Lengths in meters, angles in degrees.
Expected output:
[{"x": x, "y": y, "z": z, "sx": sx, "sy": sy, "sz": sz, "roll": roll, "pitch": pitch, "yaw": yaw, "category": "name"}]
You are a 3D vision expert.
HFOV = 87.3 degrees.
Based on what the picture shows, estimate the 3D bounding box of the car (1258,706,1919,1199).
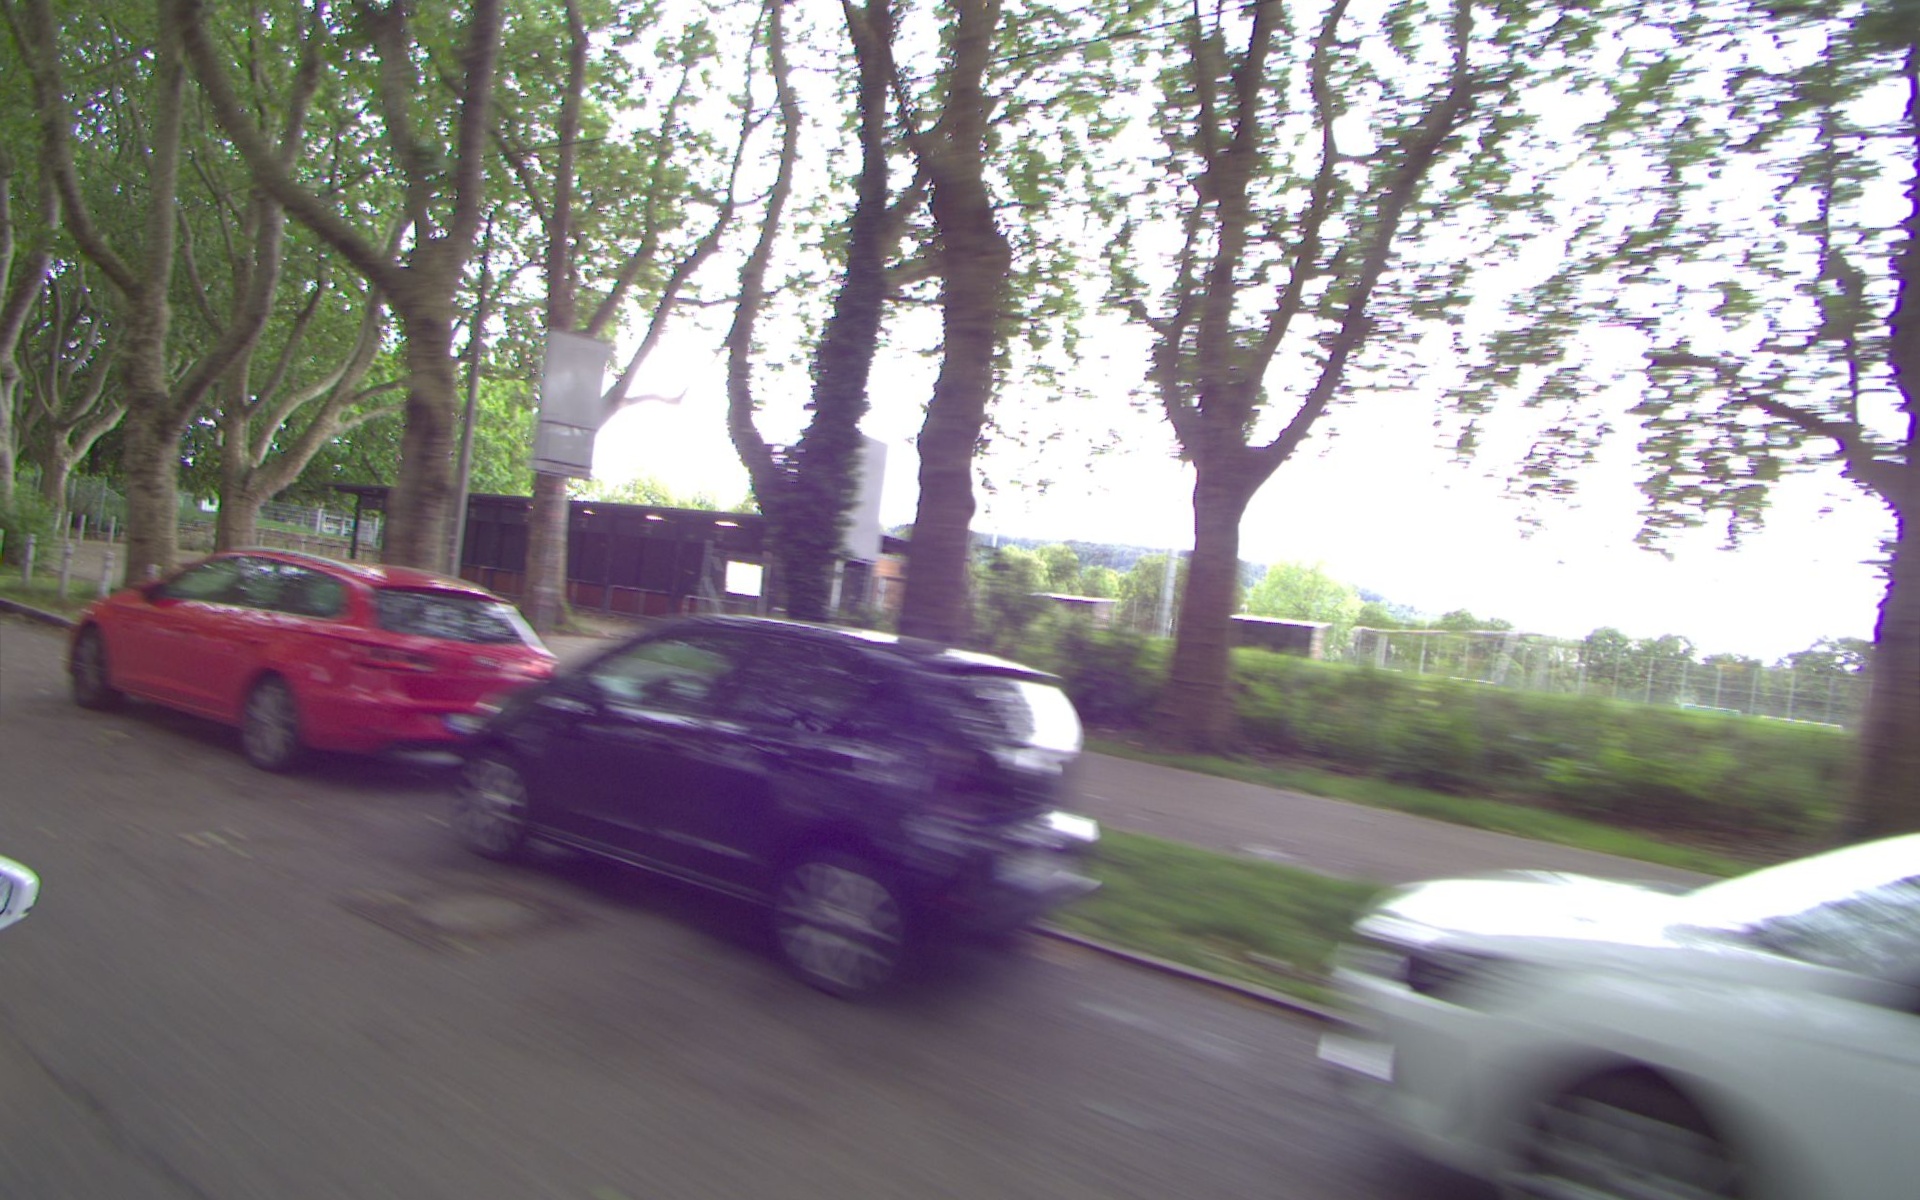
[{"x": 3.160, "y": 1.345, "z": 2.801, "sx": 4.053, "sy": 1.455, "sz": 1.738, "roll": 7, "pitch": -1, "yaw": 30, "category": "car"}]

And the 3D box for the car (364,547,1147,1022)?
[{"x": -1.256, "y": 0.742, "z": 5.560, "sx": 4.013, "sy": 1.486, "sz": 1.735, "roll": 7, "pitch": -4, "yaw": 33, "category": "car"}]

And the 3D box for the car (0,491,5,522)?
[{"x": -15.127, "y": -0.967, "z": 13.796, "sx": 4.365, "sy": 1.637, "sz": 1.760, "roll": 7, "pitch": -3, "yaw": 32, "category": "car"}]

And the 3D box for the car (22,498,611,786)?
[{"x": -5.127, "y": 0.246, "z": 7.888, "sx": 4.548, "sy": 1.454, "sz": 1.722, "roll": 7, "pitch": -3, "yaw": 28, "category": "car"}]
